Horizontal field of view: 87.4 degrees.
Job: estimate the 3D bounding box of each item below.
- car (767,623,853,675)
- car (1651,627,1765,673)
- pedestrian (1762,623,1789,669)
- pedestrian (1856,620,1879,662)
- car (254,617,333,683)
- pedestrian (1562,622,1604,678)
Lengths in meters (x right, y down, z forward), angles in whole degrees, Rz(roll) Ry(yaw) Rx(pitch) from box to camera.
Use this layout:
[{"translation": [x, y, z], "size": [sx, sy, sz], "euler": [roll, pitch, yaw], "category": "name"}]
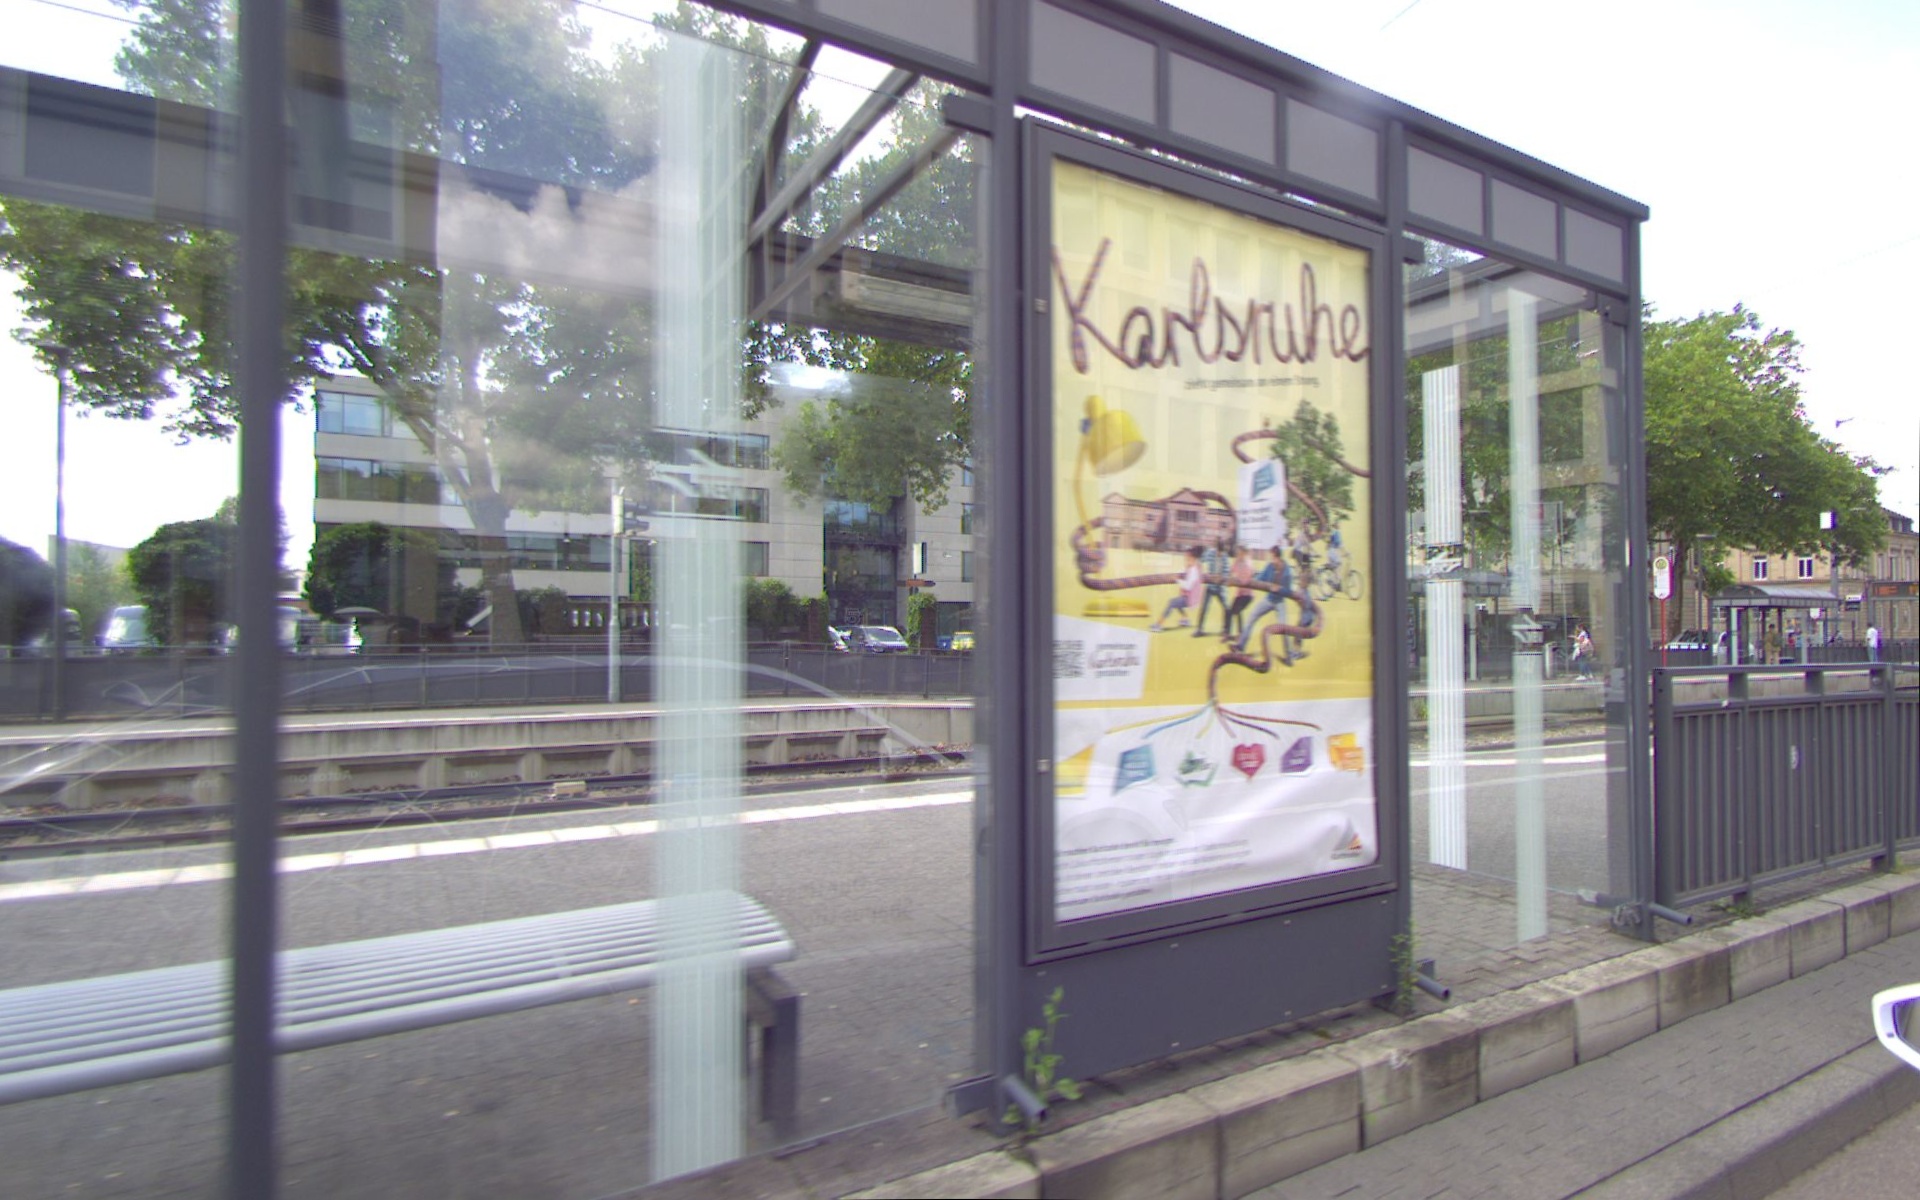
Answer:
[{"translation": [-6.240, 2.063, 41.354], "size": [1.914, 2.014, 4.804], "euler": [1, -4, -30], "category": "car"}, {"translation": [29.912, 1.977, 40.150], "size": [4.765, 1.727, 1.984], "euler": [1, -2, -31], "category": "car"}, {"translation": [28.341, 1.605, 34.917], "size": [0.635, 1.579, 0.498], "euler": [1, -2, -30], "category": "pedestrian"}, {"translation": [37.251, 1.664, 41.250], "size": [0.635, 1.705, 0.498], "euler": [1, -2, -30], "category": "pedestrian"}, {"translation": [-22.508, 1.718, 34.068], "size": [1.937, 2.060, 4.119], "euler": [1, -4, -30], "category": "car"}, {"translation": [17.261, 1.374, 27.846], "size": [0.795, 1.532, 0.697], "euler": [1, -3, -34], "category": "pedestrian"}]
